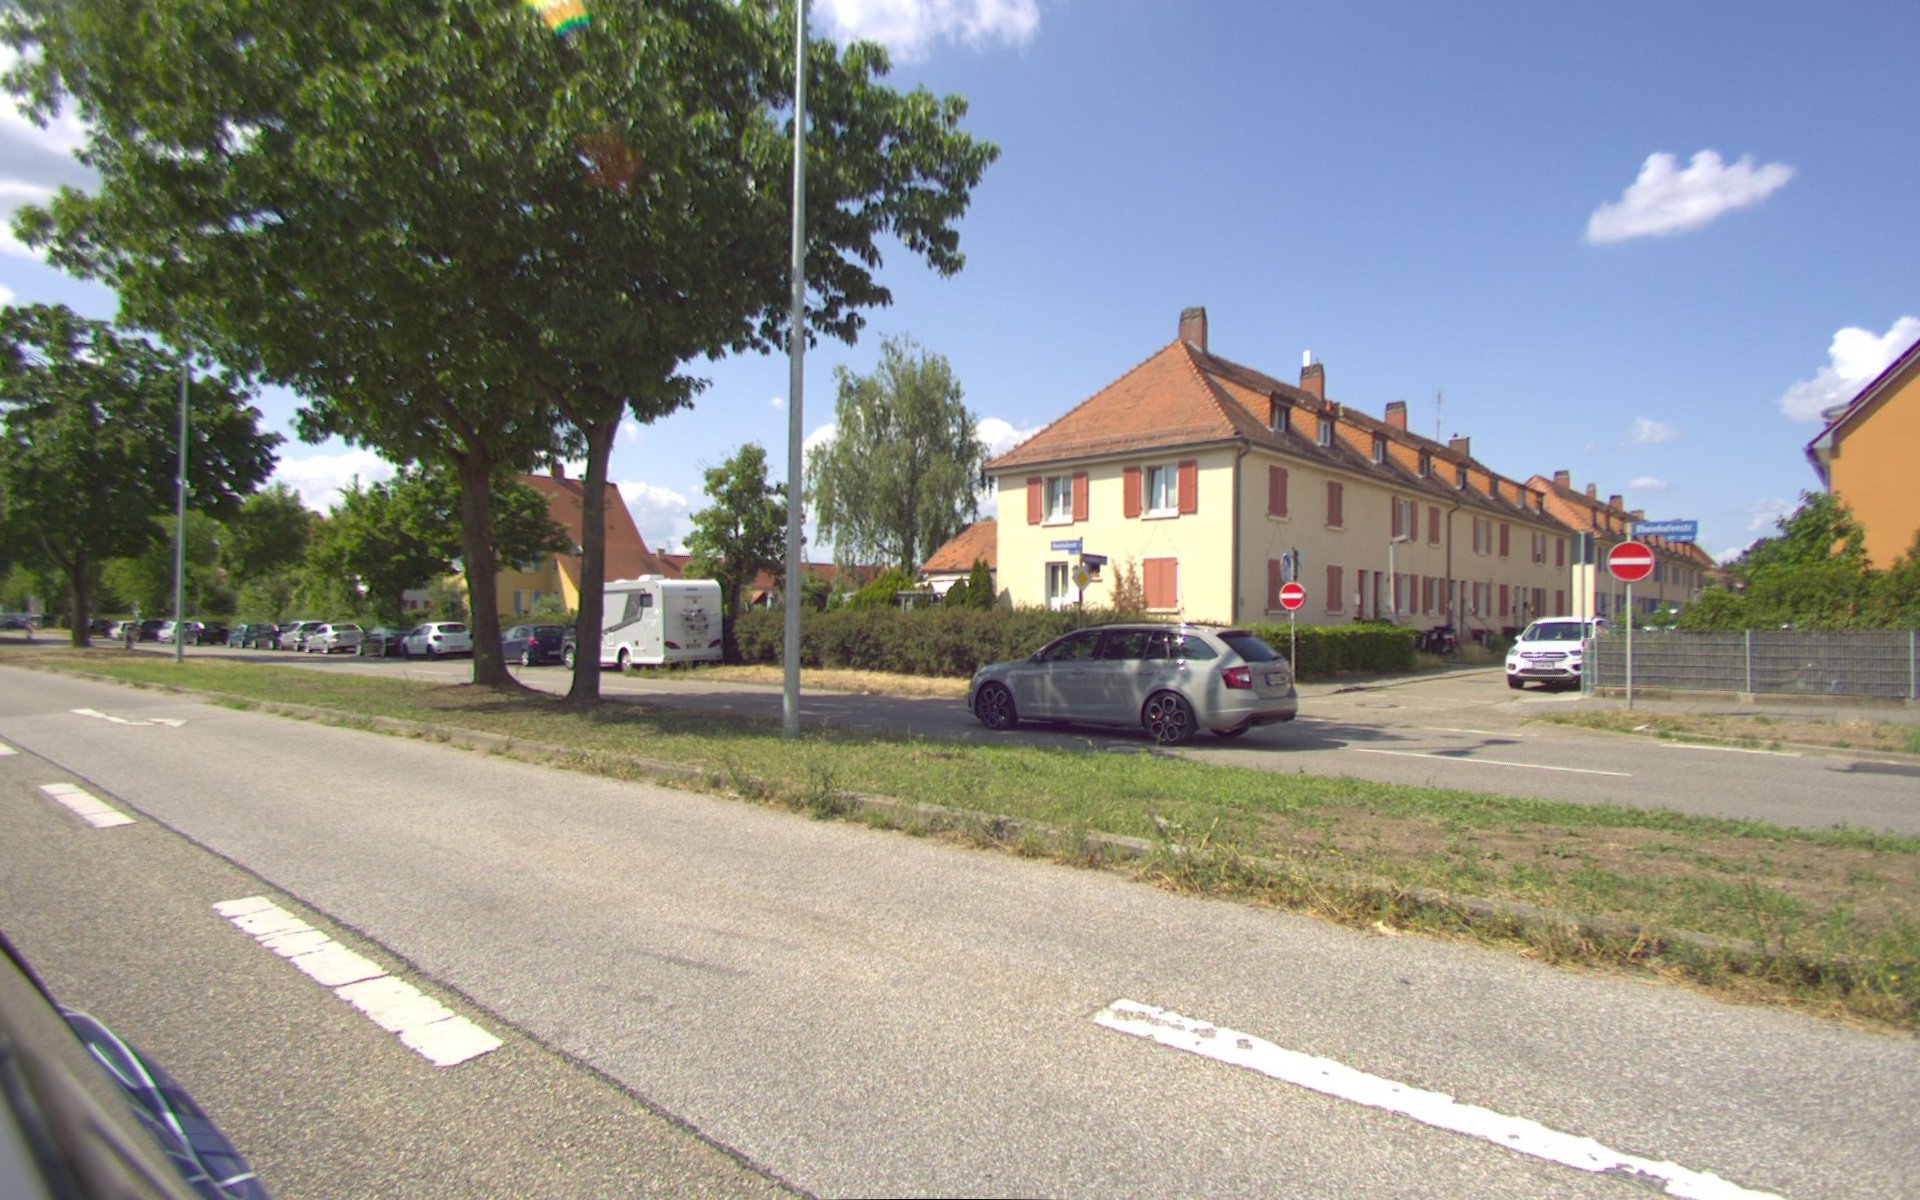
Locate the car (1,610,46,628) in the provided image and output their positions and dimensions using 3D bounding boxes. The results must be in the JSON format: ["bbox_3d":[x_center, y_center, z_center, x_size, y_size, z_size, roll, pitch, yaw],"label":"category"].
[{"bbox_3d":[-112.333,2.246,121.464,1.778,2.029,4.003,-1,1,-3],"label":"car"}]

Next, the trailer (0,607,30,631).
[{"bbox_3d":[-130.794,2.617,138.357,2.781,3.132,5.768,-2,0,-13],"label":"trailer"}]

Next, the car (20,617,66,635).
[{"bbox_3d":[-104.272,2.931,115.170,1.778,1.874,4.003,-1,-1,-3],"label":"car"}]

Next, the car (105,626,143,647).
[{"bbox_3d":[-65.065,2.837,78.772,3.531,1.472,1.578,0,1,39],"label":"car"}]

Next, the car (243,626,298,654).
[{"bbox_3d":[-38.529,2.215,56.517,4.353,1.405,1.388,-1,0,40],"label":"car"}]

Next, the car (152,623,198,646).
[{"bbox_3d":[-54.335,2.347,70.044,3.842,1.462,1.644,0,1,39],"label":"car"}]

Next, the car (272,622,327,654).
[{"bbox_3d":[-35.090,1.981,53.710,3.739,1.569,1.388,-1,0,40],"label":"car"}]

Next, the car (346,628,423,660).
[{"bbox_3d":[-26.155,1.965,45.915,4.582,1.316,1.619,-1,0,42],"label":"car"}]

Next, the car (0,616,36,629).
[{"bbox_3d":[-116.475,2.765,124.773,1.550,1.408,4.003,-1,1,-3],"label":"car"}]

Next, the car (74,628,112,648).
[{"bbox_3d":[-73.302,3.177,85.570,3.995,1.563,1.750,0,1,39],"label":"car"}]

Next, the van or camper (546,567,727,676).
[{"bbox_3d":[-10.557,0.676,32.542,7.320,3.135,2.234,-2,0,43],"label":"van or camper"}]

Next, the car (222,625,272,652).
[{"bbox_3d":[-42.183,2.262,59.883,3.474,1.405,1.547,0,1,40],"label":"car"}]

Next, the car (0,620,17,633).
[{"bbox_3d":[-122.968,3.399,128.925,1.799,1.521,3.947,0,1,40],"label":"car"}]

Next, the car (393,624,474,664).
[{"bbox_3d":[-22.173,1.824,42.575,4.122,1.496,1.671,0,1,42],"label":"car"}]

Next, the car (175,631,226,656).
[{"bbox_3d":[-48.972,2.781,65.257,4.099,1.492,1.644,-1,0,39],"label":"car"}]

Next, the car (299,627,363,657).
[{"bbox_3d":[-31.181,2.061,50.120,4.529,1.380,1.495,-1,0,42],"label":"car"}]

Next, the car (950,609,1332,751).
[{"bbox_3d":[2.228,0.948,13.256,4.648,1.519,1.715,0,-4,39],"label":"car"}]

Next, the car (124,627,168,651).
[{"bbox_3d":[-60.211,2.847,74.845,4.310,1.624,1.644,0,1,39],"label":"car"}]

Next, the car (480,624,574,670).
[{"bbox_3d":[-15.877,1.675,37.001,3.991,1.496,1.619,0,1,42],"label":"car"}]

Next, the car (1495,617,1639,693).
[{"bbox_3d":[14.444,1.225,24.010,3.940,1.630,2.002,1,-1,-44],"label":"car"}]

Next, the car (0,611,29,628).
[{"bbox_3d":[-118.911,2.457,126.317,1.778,2.029,4.003,-1,1,-3],"label":"car"}]
